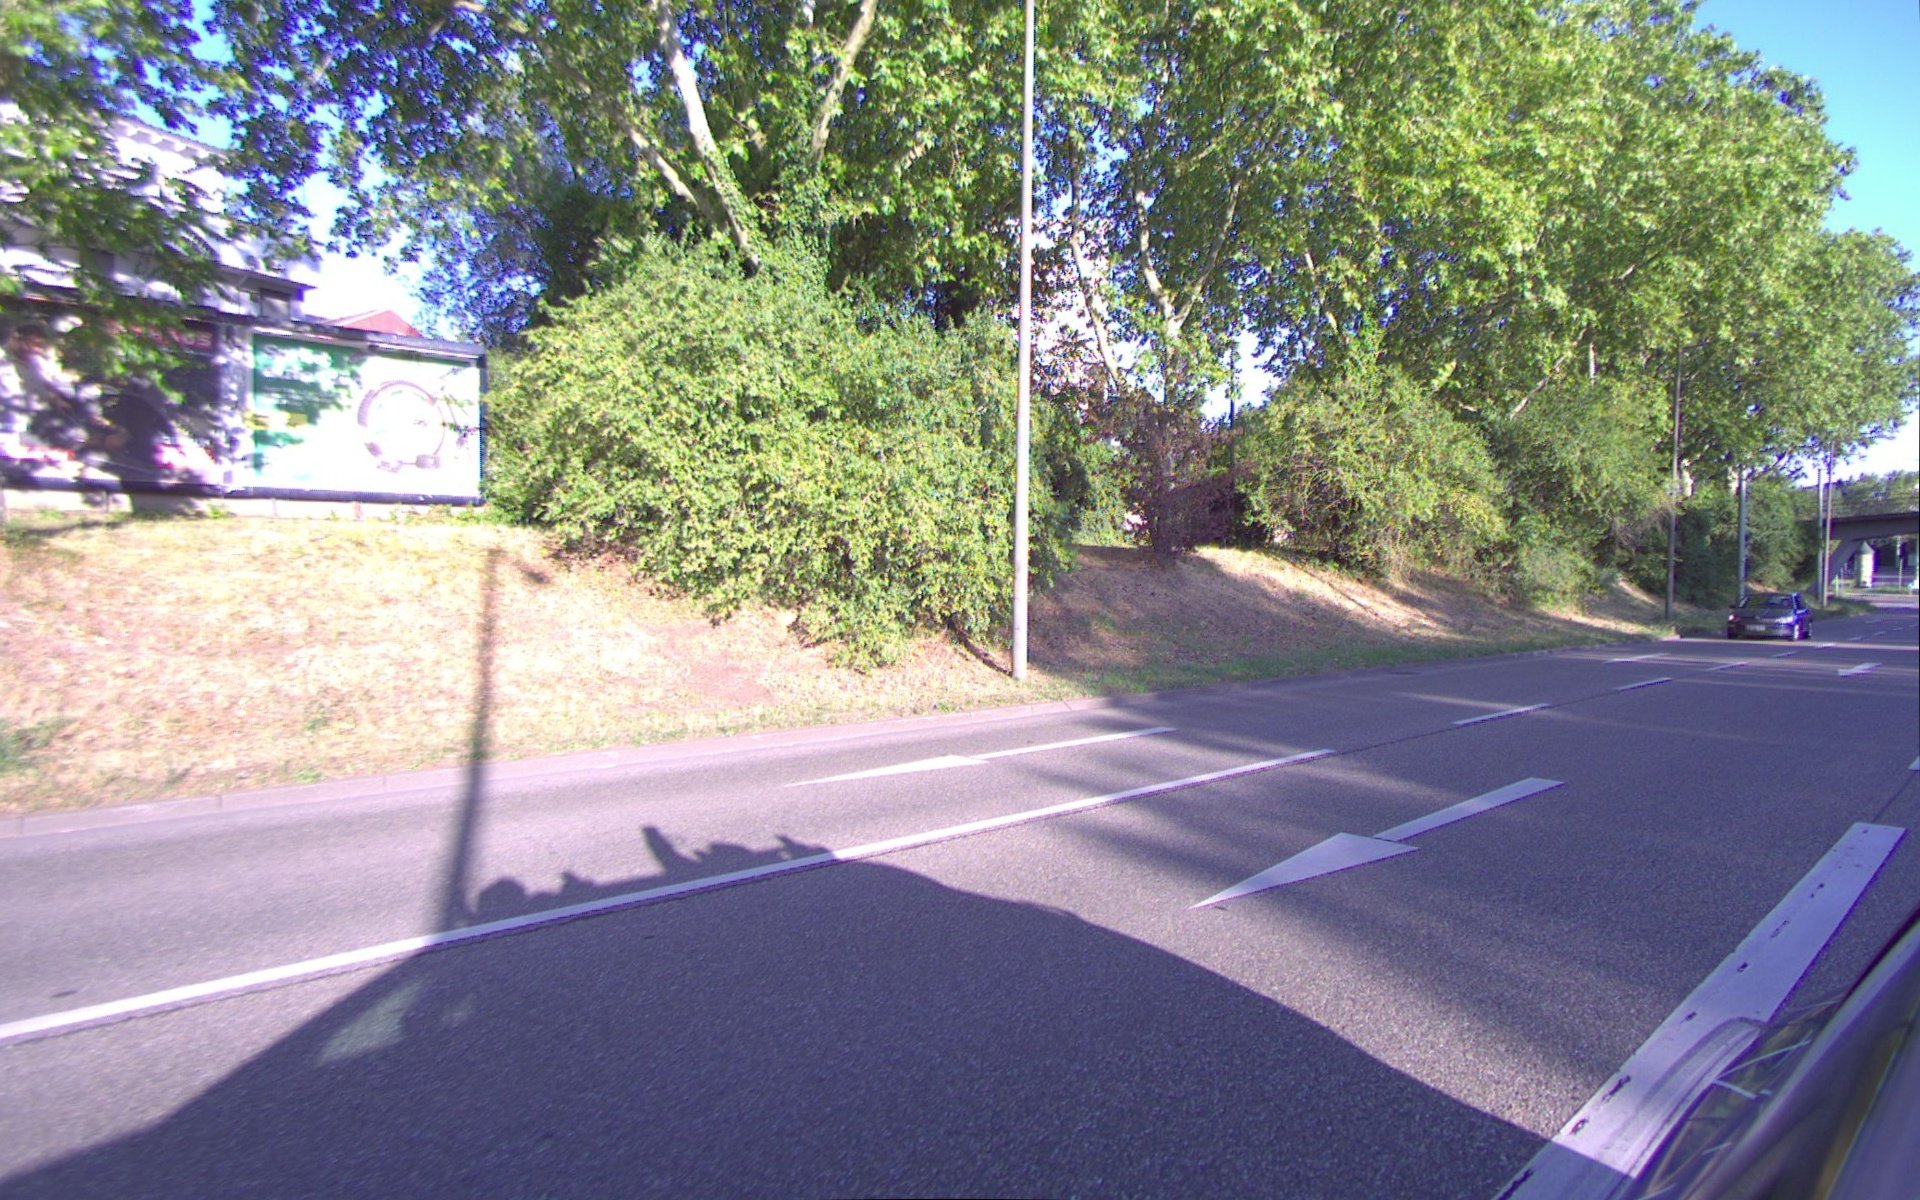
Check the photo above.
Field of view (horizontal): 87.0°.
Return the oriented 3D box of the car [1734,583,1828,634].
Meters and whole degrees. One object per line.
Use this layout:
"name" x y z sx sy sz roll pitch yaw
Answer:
"car" 25.389 0.230 31.246 3.916 1.460 1.627 -1 1 -41
